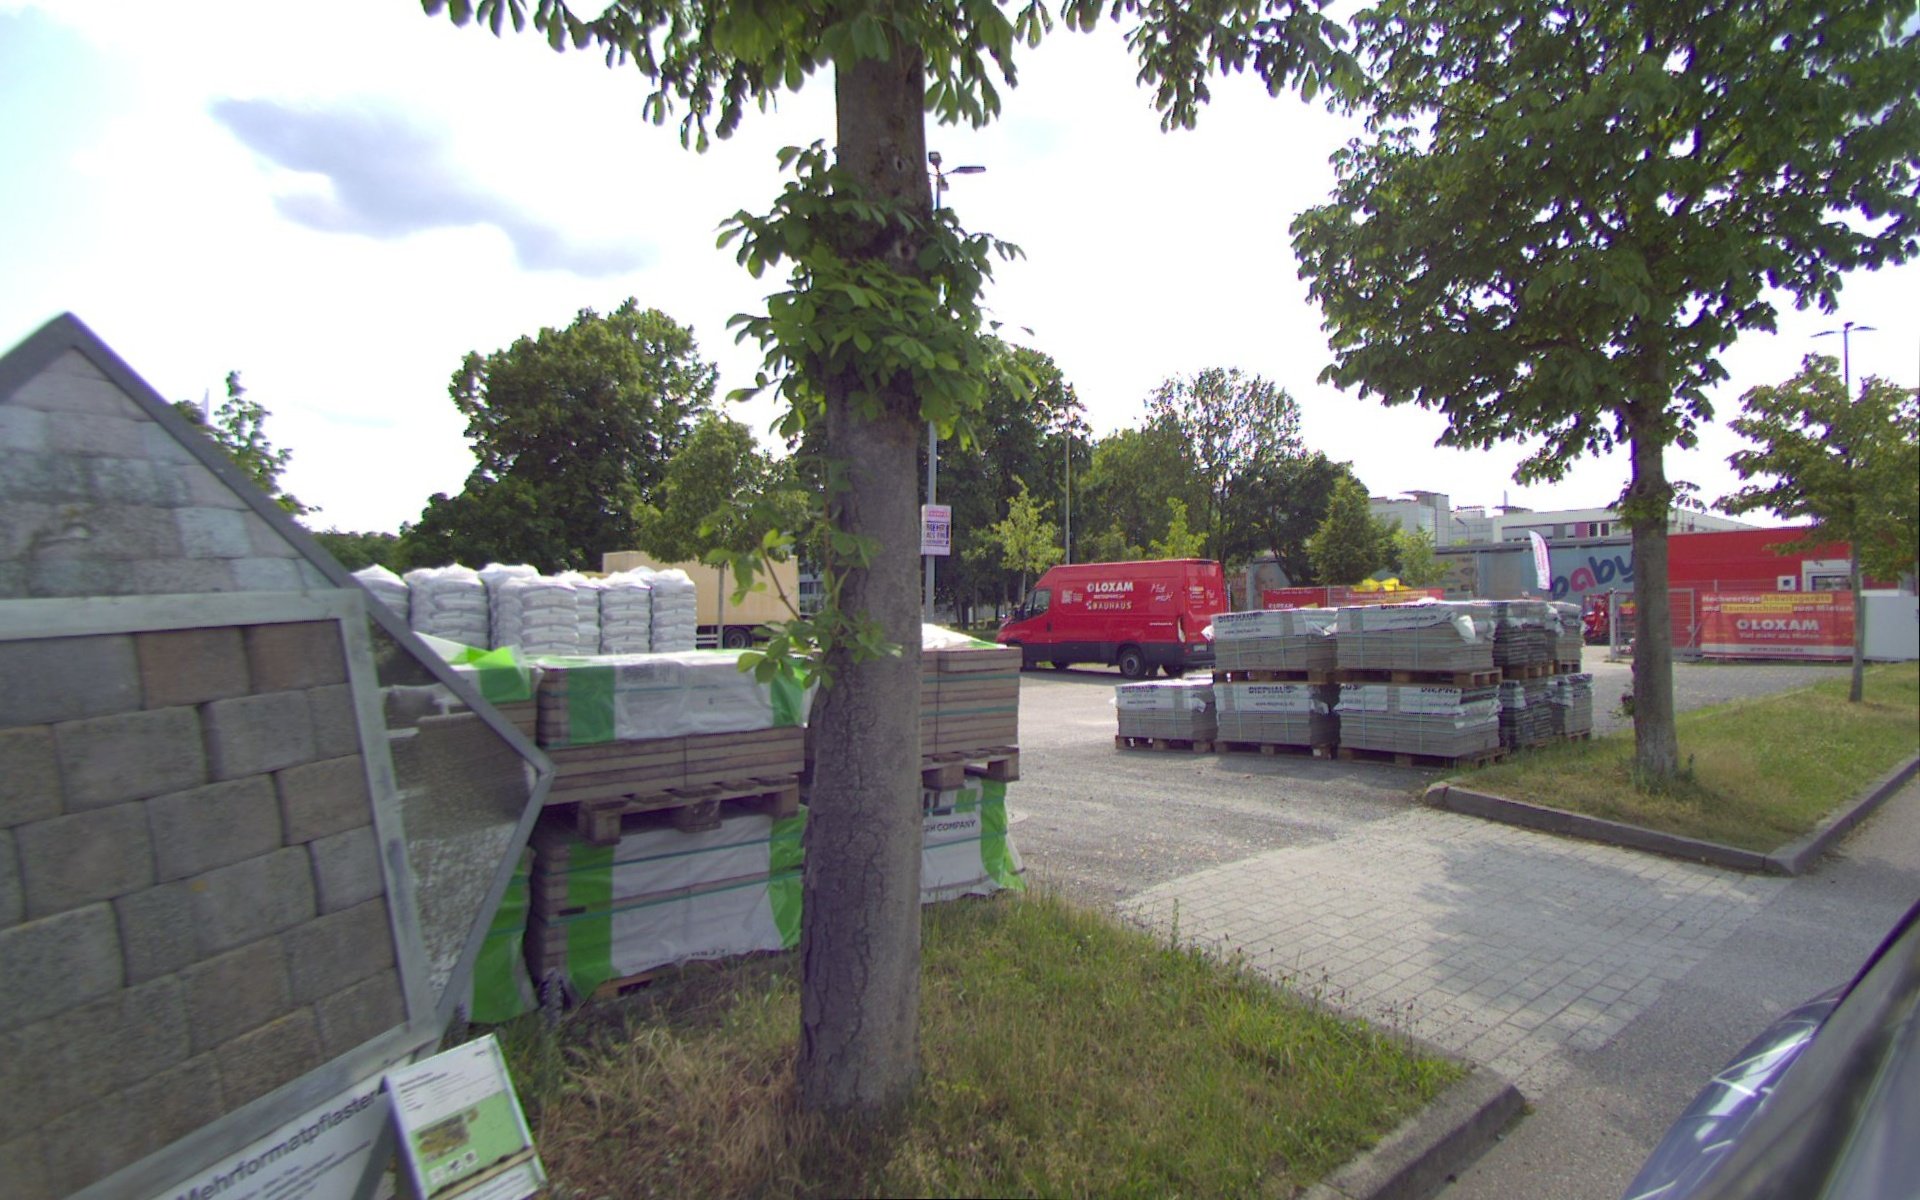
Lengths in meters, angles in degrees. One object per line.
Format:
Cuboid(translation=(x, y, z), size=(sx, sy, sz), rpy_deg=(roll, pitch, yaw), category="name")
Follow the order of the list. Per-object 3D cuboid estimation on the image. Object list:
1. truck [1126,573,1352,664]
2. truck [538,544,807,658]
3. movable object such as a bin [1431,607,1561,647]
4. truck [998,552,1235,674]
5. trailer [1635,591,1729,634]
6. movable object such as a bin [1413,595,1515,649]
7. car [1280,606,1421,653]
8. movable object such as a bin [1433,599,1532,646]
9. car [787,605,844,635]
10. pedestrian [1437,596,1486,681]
Cuboid(translation=(7.626, 0.485, 28.234), size=(2.136, 2.284, 5.850), rpy_deg=(1, -1, -43), category="truck")
Cuboid(translation=(-10.014, 0.061, 36.093), size=(8.873, 3.644, 2.727), rpy_deg=(1, -1, -39), category="truck")
Cuboid(translation=(21.048, 1.031, 39.777), size=(3.026, 1.396, 3.585), rpy_deg=(-1, 1, -37), category="movable object such as a bin")
Cuboid(translation=(3.544, 0.292, 23.878), size=(2.081, 2.547, 5.433), rpy_deg=(1, -1, -43), category="truck")
Cuboid(translation=(42.933, 0.712, 60.237), size=(1.738, 2.448, 4.271), rpy_deg=(-3, 2, -40), category="trailer")
Cuboid(translation=(18.157, 0.776, 36.559), size=(1.364, 1.867, 3.008), rpy_deg=(1, -1, -40), category="movable object such as a bin")
Cuboid(translation=(12.985, 0.947, 33.805), size=(4.133, 1.432, 1.592), rpy_deg=(0, 0, 45), category="car")
Cuboid(translation=(19.557, 0.817, 37.967), size=(1.364, 1.691, 3.008), rpy_deg=(1, -1, -40), category="movable object such as a bin")
Cuboid(translation=(-8.505, 1.161, 59.339), size=(1.868, 1.677, 3.486), rpy_deg=(0, 0, -37), category="car")
Cuboid(translation=(10.438, 0.786, 21.054), size=(0.863, 1.713, 0.600), rpy_deg=(0, 0, -39), category="pedestrian")
